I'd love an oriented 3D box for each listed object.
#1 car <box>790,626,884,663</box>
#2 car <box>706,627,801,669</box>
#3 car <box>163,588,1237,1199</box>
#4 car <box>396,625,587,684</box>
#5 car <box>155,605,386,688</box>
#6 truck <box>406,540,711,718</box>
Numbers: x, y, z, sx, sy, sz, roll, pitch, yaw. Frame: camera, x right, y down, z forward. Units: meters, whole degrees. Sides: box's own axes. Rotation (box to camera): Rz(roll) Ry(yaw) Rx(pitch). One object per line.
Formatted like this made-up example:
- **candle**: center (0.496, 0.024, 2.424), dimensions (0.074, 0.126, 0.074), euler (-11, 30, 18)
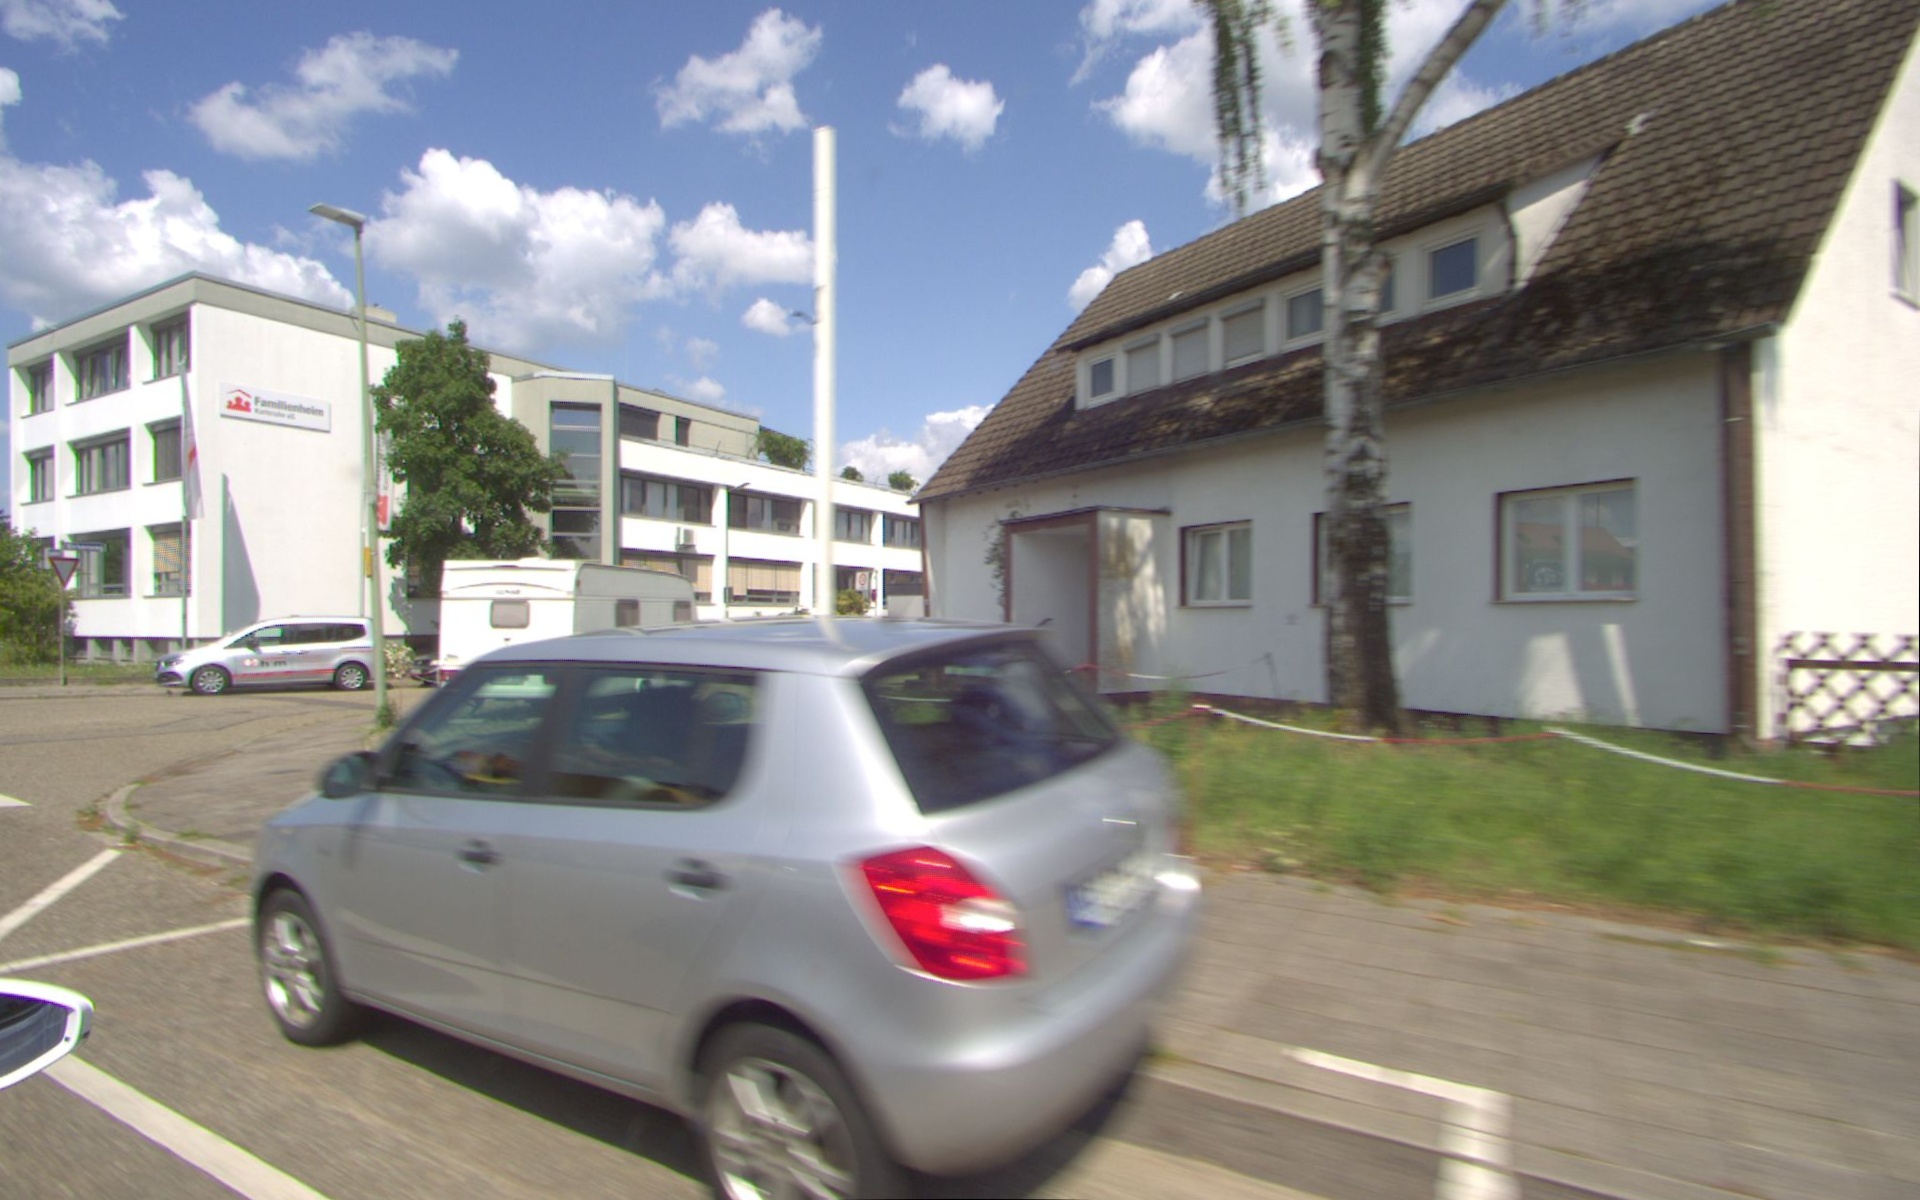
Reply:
- **car**: center (-4.921, 1.757, 40.664), dimensions (1.593, 1.416, 4.237), euler (0, -1, 29)
- **car**: center (-7.438, 1.705, 36.306), dimensions (1.593, 1.416, 3.350), euler (0, -1, 29)
- **car**: center (-1.170, 0.830, 3.710), dimensions (3.944, 1.600, 1.608), euler (0, -2, 33)
- **car**: center (-12.695, 1.431, 27.449), dimensions (1.733, 1.446, 4.607), euler (0, -1, 30)
- **car**: center (-16.216, 1.083, 23.672), dimensions (4.362, 1.774, 1.850), euler (1, -4, -41)
- **truck**: center (-6.707, 0.508, 17.826), dimensions (2.516, 2.610, 6.061), euler (1, -1, 5)
